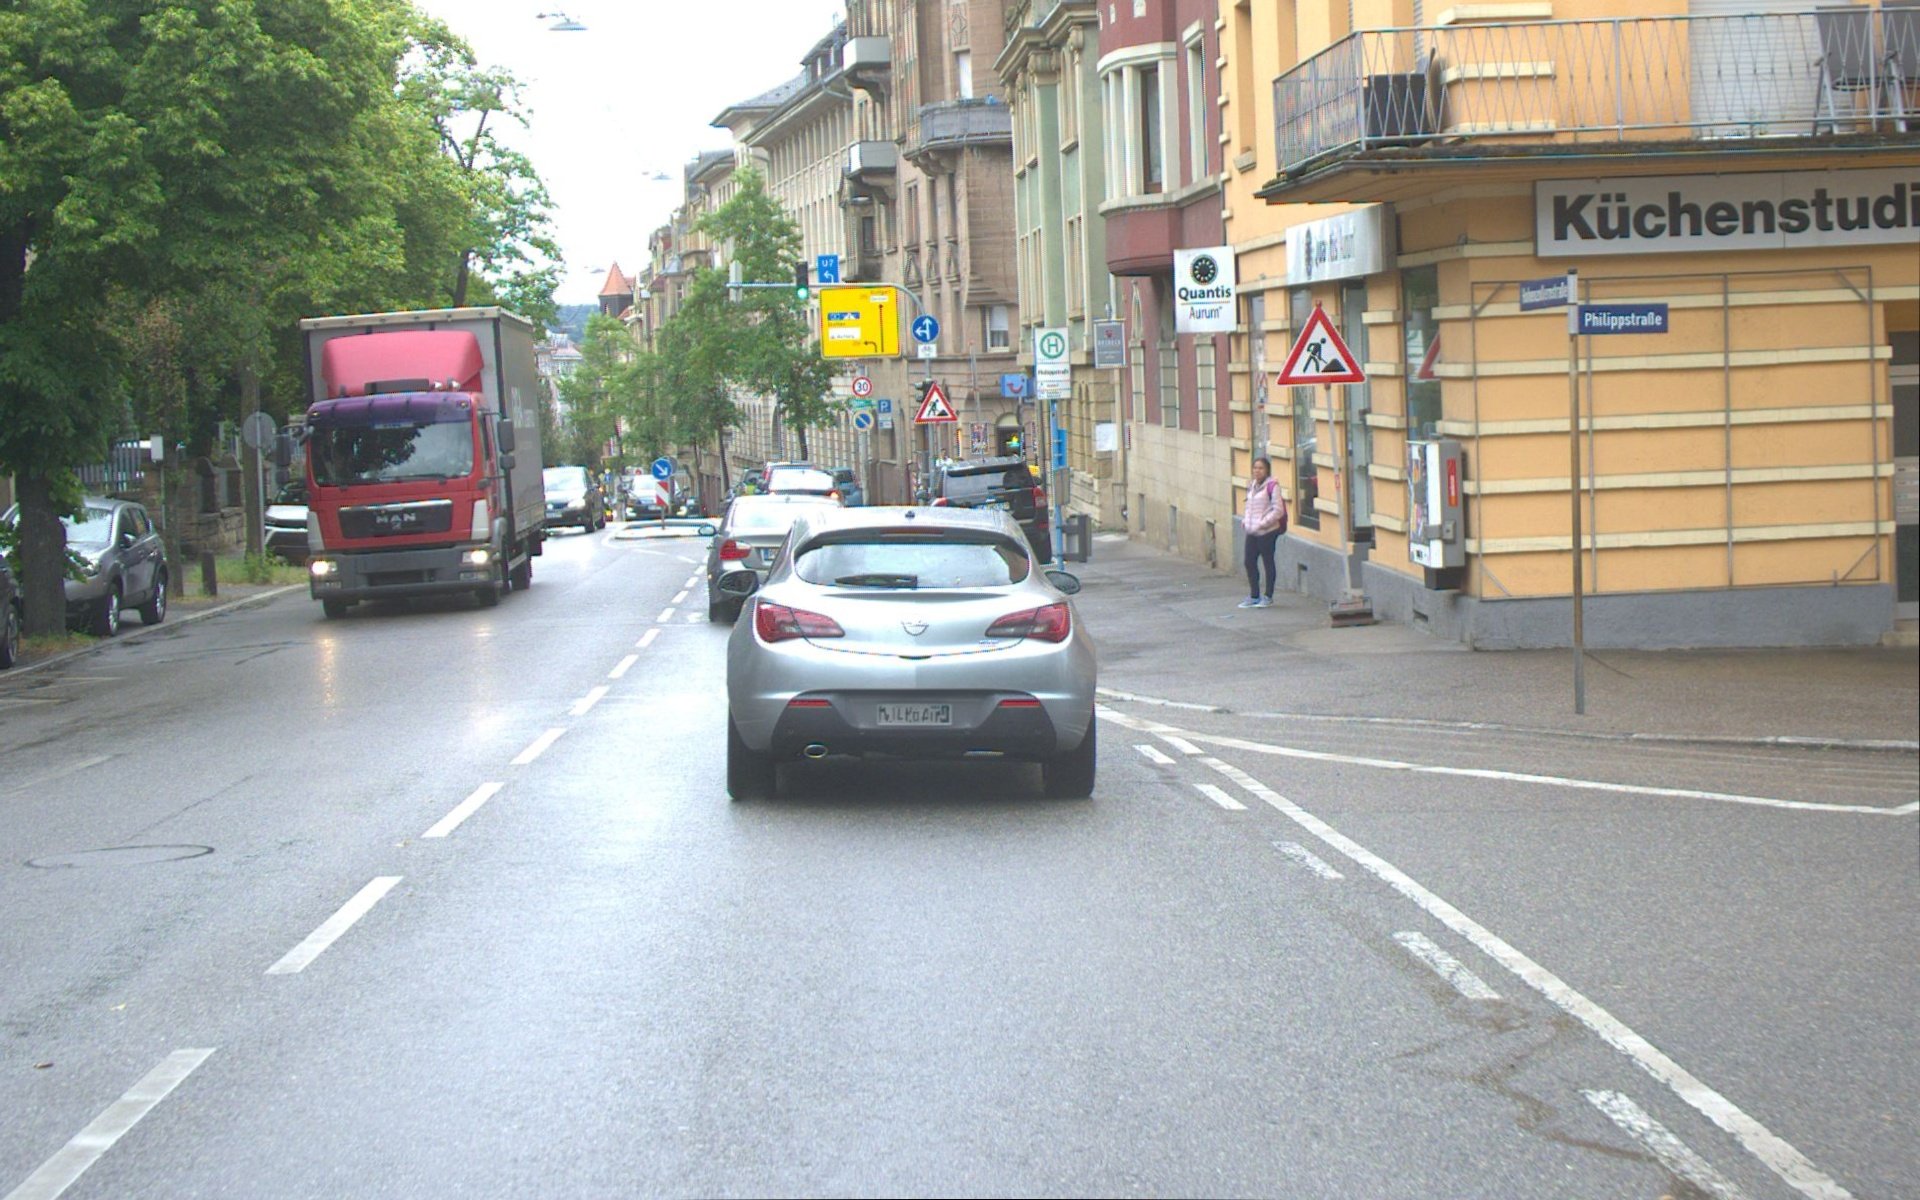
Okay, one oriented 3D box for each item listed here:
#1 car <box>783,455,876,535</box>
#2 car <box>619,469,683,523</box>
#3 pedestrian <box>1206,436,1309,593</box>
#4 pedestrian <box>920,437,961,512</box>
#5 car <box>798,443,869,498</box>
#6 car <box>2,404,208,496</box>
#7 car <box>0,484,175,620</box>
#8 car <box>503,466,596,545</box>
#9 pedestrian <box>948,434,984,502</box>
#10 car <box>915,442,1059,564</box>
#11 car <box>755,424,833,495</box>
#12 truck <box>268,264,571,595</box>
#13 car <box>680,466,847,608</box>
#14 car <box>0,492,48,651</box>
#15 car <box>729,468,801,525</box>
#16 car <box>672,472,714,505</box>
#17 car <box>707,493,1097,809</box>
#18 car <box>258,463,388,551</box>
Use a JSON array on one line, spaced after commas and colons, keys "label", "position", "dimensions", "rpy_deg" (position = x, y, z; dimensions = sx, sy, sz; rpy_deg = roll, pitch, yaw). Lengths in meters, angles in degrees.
[{"label": "car", "position": [-2.601, -2.103, 68.616], "dimensions": [1.772, 1.499, 3.870], "rpy_deg": [-1, 2, -2]}, {"label": "car", "position": [-9.204, -3.128, 102.622], "dimensions": [1.815, 1.512, 4.549], "rpy_deg": [-1, 3, -5]}, {"label": "pedestrian", "position": [3.113, -0.893, 35.950], "dimensions": [0.766, 1.584, 0.712], "rpy_deg": [-4, 2, -21]}, {"label": "pedestrian", "position": [-0.478, -3.063, 84.013], "dimensions": [0.718, 1.768, 0.665], "rpy_deg": [-3, 4, 15]}, {"label": "car", "position": [-3.995, -4.066, 107.958], "dimensions": [1.656, 1.537, 3.666], "rpy_deg": [-5, 2, -9]}, {"label": "car", "position": [-22.015, -3.877, 88.563], "dimensions": [4.665, 2.041, 2.025], "rpy_deg": [4, 4, 12]}, {"label": "car", "position": [-10.899, -0.627, 42.012], "dimensions": [1.741, 1.554, 4.303], "rpy_deg": [-1, 2, -2]}, {"label": "car", "position": [-9.369, -2.188, 78.739], "dimensions": [1.772, 1.512, 4.592], "rpy_deg": [-3, 5, -3]}, {"label": "pedestrian", "position": [0.145, -3.215, 83.760], "dimensions": [0.597, 1.579, 0.665], "rpy_deg": [-3, 4, 16]}, {"label": "car", "position": [0.371, -1.512, 53.134], "dimensions": [1.876, 1.624, 4.698], "rpy_deg": [-5, 2, -2]}, {"label": "car", "position": [-3.938, -3.339, 81.974], "dimensions": [1.656, 1.537, 3.666], "rpy_deg": [-5, 2, -1]}, {"label": "truck", "position": [-7.096, -2.278, 46.474], "dimensions": [2.647, 3.841, 9.309], "rpy_deg": [-4, 3, -2]}, {"label": "car", "position": [-2.188, -0.747, 39.066], "dimensions": [1.772, 1.499, 3.870], "rpy_deg": [-1, 2, -2]}, {"label": "car", "position": [-10.324, -0.300, 34.183], "dimensions": [1.741, 1.554, 4.303], "rpy_deg": [0, 2, -5]}, {"label": "car", "position": [-5.836, -3.072, 102.775], "dimensions": [1.656, 1.537, 3.666], "rpy_deg": [-5, 2, -9]}, {"label": "car", "position": [-12.571, -5.242, 161.705], "dimensions": [1.637, 1.424, 3.378], "rpy_deg": [-3, 2, -9]}, {"label": "car", "position": [-0.318, 0.179, 18.159], "dimensions": [1.811, 1.444, 3.870], "rpy_deg": [-1, 2, -1]}, {"label": "car", "position": [-11.742, -1.738, 63.583], "dimensions": [1.741, 1.554, 4.303], "rpy_deg": [-1, 2, -2]}]
